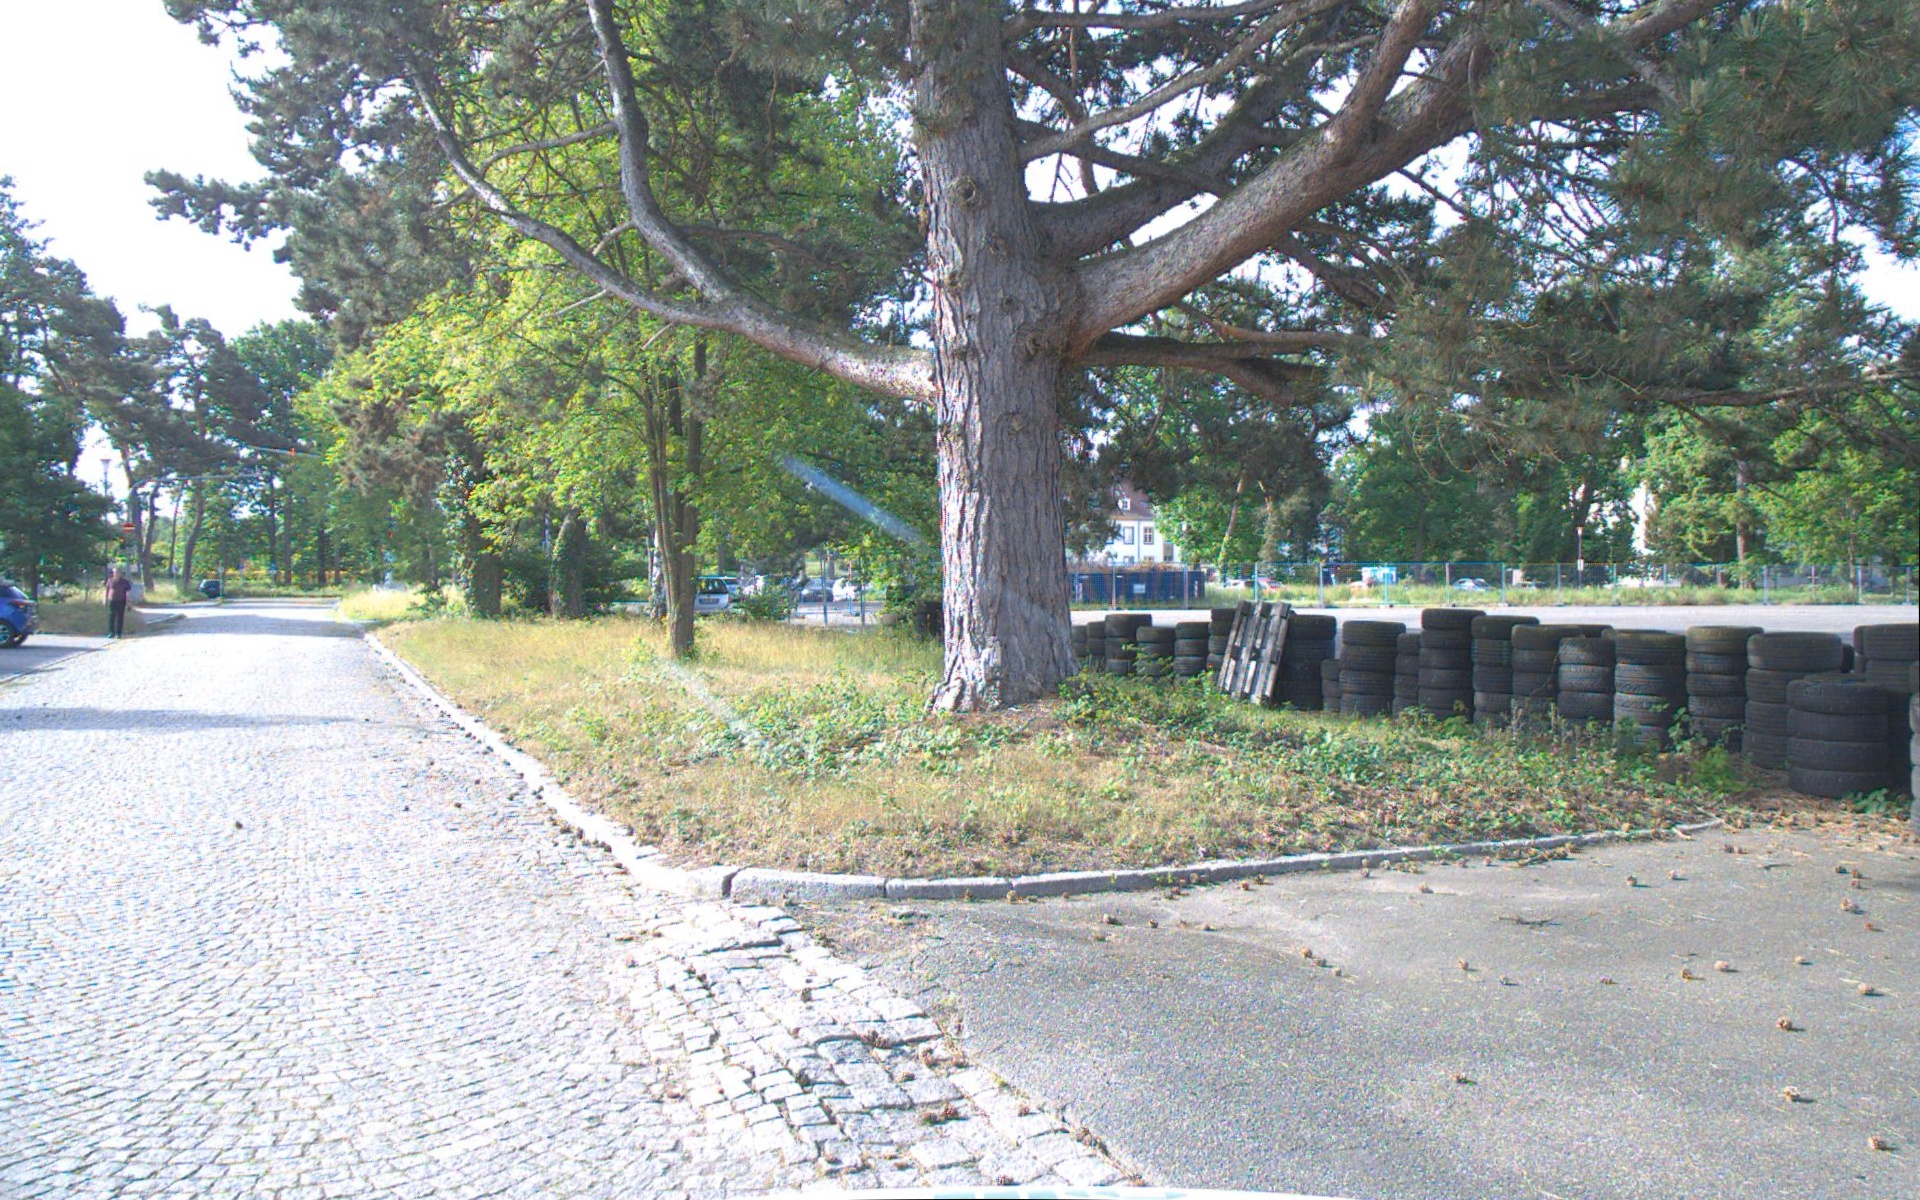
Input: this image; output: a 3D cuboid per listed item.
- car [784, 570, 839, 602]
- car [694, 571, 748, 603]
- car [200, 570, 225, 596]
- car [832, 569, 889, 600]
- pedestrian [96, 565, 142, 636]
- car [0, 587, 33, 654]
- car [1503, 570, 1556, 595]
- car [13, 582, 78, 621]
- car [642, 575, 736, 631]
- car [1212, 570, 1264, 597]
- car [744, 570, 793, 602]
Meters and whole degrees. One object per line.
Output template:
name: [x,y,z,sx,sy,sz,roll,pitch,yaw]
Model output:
car: [-8.065,-0.764,89.654,1.966,1.646,3.974,-1,1,-22]
car: [-12.621,-0.708,87.154,1.966,1.646,3.974,-1,1,-22]
car: [-61.160,-1.404,135.370,1.674,2.049,3.974,0,1,-22]
car: [-5.509,-0.861,91.055,1.966,1.646,3.974,-1,1,-22]
pedestrian: [-22.499,0.001,44.243,0.948,1.876,0.943,-1,1,-36]
car: [-22.573,0.460,37.116,3.049,1.475,1.478,-1,1,-29]
car: [42.192,-1.299,122.561,1.959,1.780,3.988,0,1,-12]
car: [-39.753,0.033,71.983,1.966,1.646,3.974,-1,1,-22]
car: [-8.025,0.051,48.732,1.861,1.568,3.971,0,1,-24]
car: [18.954,-1.144,113.084,1.962,1.780,3.981,0,1,-17]
car: [-10.263,-0.745,88.422,1.794,1.646,3.977,-1,1,-20]
